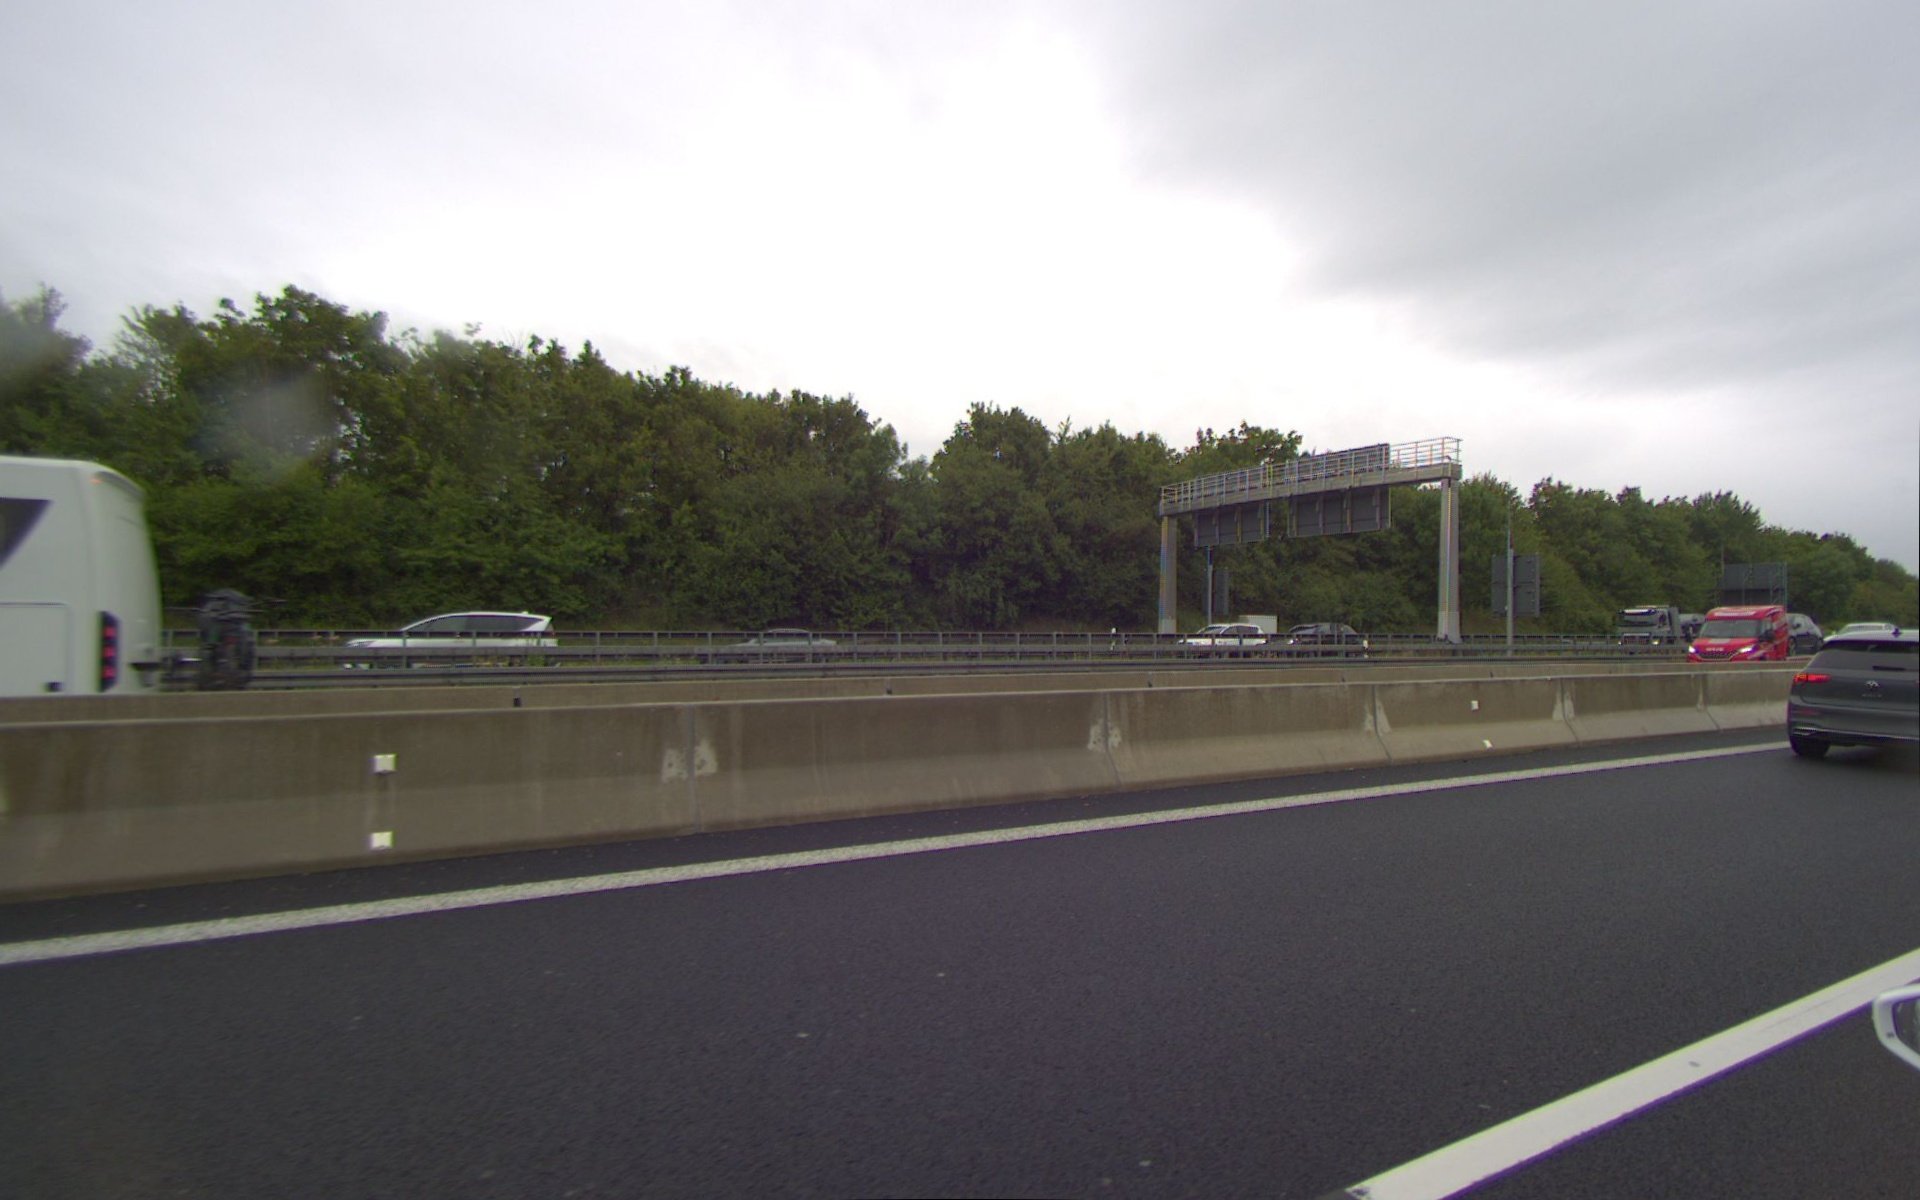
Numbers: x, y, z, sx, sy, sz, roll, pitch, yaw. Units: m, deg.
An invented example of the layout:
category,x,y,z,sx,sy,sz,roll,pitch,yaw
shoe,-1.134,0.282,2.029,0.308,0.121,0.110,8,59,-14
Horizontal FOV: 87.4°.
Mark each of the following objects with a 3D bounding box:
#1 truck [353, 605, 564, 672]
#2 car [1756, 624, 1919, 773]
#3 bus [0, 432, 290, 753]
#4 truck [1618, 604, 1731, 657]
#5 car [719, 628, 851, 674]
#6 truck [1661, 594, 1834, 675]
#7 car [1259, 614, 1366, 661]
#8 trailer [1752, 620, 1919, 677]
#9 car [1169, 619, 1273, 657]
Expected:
category,x,y,z,sx,sy,sz,roll,pitch,yaw
truck,-12.215,0.923,24.565,4.424,1.515,1.982,1,-1,-34
car,11.203,1.051,11.511,4.316,1.444,1.821,2,0,-30
bus,-10.438,-0.138,8.104,8.177,2.621,2.528,2,0,-31
truck,44.956,1.934,63.105,8.745,3.187,2.501,1,-1,-30
car,-5.796,1.659,33.303,3.955,1.394,1.788,1,-1,-31
truck,27.860,1.199,35.441,7.011,2.628,2.415,2,-1,-31
car,14.268,1.491,40.598,4.133,1.812,1.827,1,-1,-29
trailer,35.231,1.874,39.926,10.127,2.040,2.524,1,-1,-31
car,11.196,1.613,43.094,4.163,1.550,1.984,1,-1,-30
